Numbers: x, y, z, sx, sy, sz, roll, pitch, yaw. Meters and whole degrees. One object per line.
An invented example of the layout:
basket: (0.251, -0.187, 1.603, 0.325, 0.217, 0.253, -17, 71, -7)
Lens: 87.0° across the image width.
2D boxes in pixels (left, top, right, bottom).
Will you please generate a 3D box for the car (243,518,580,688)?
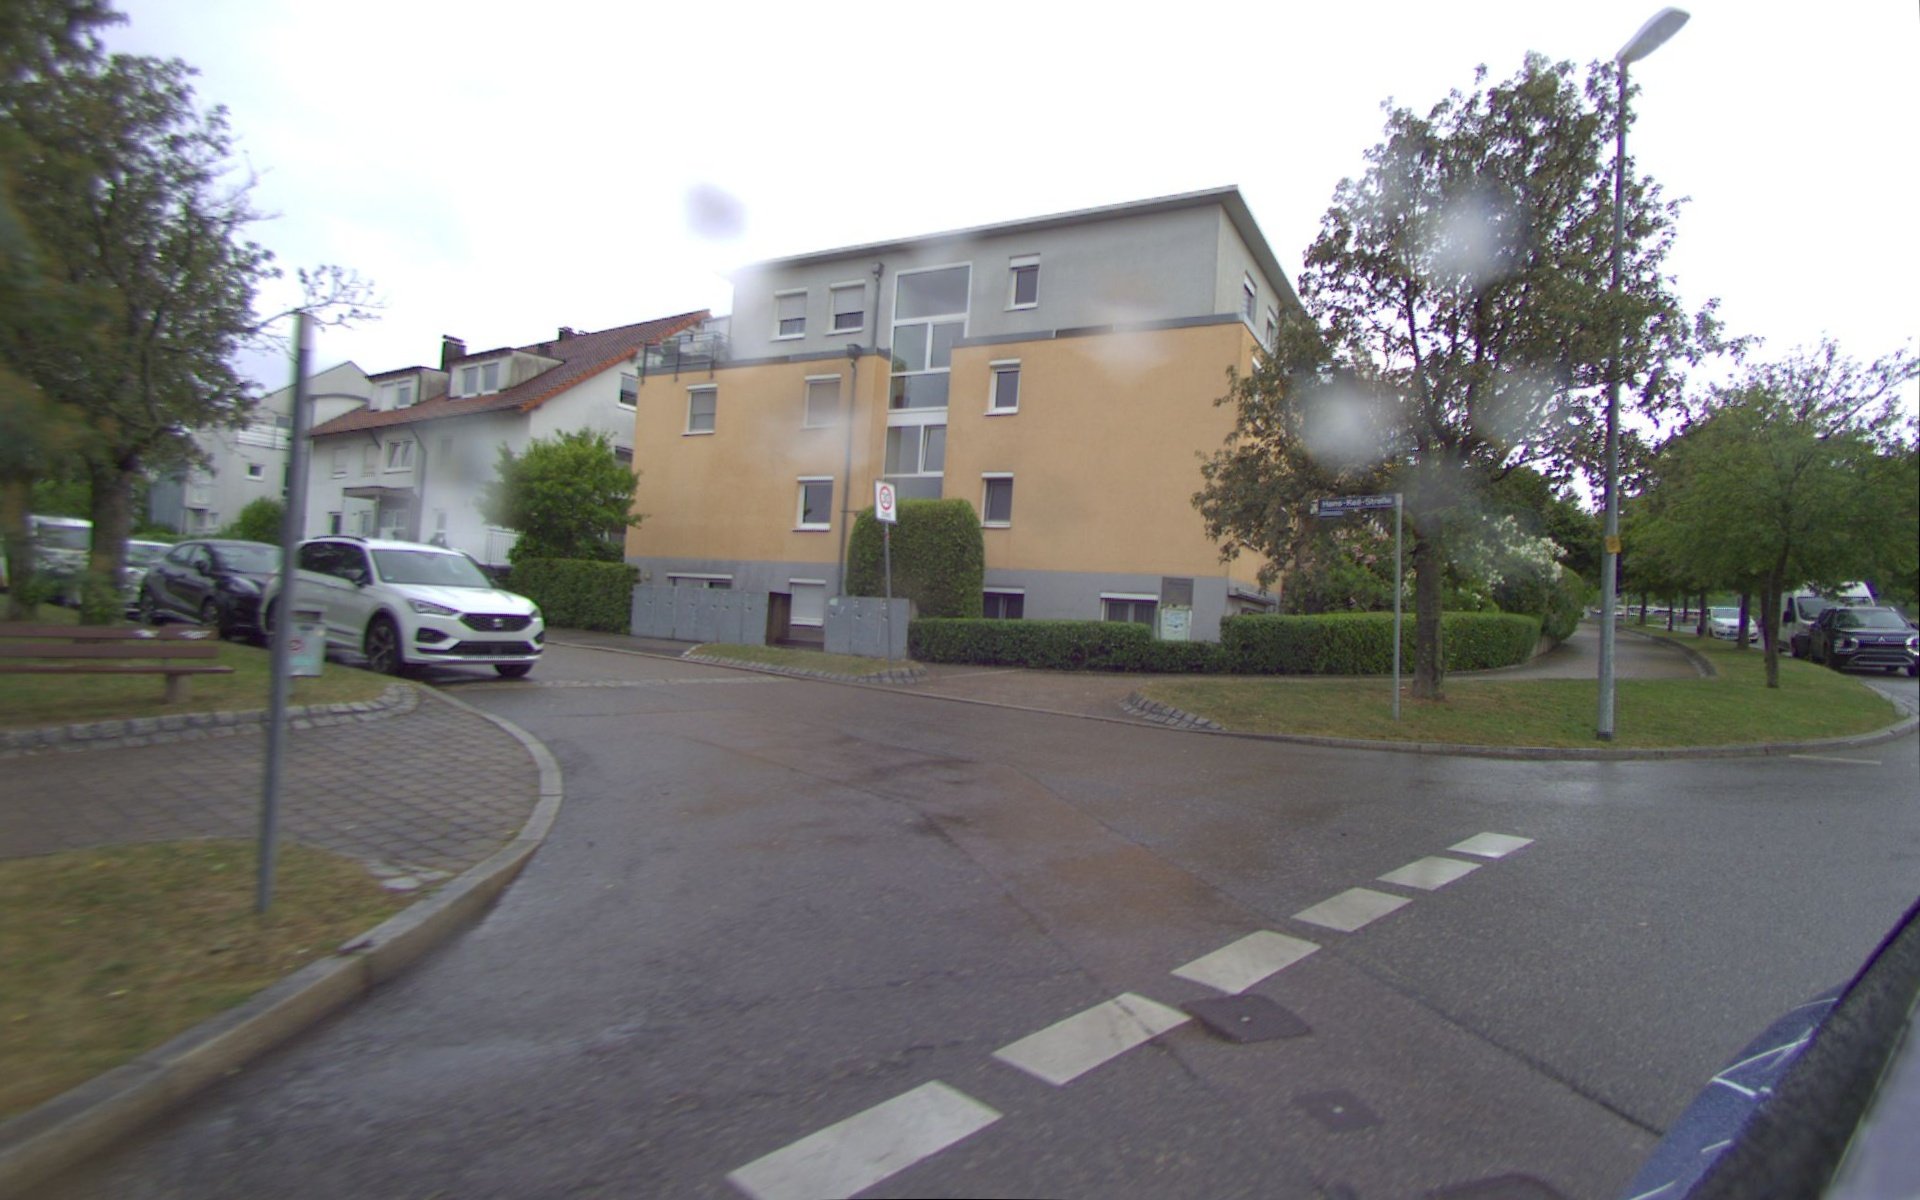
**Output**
car: (-7.257, -0.087, 13.219, 4.683, 1.837, 1.924, 3, 2, 34)

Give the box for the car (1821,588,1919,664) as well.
car: (23.616, 0.596, 26.037, 1.806, 1.748, 4.593, 1, 2, 35)

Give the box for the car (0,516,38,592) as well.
car: (-27.499, -1.290, 28.143, 4.133, 1.995, 1.929, 1, -1, 37)

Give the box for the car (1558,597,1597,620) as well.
car: (55.199, 0.713, 90.523, 1.948, 1.871, 3.982, 1, 1, 15)

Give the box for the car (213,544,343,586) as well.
car: (-25.965, -1.311, 38.610, 1.735, 1.477, 3.751, 3, 2, 38)

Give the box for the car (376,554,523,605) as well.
car: (-15.525, -0.617, 30.935, 1.711, 1.433, 3.640, 3, 2, 33)

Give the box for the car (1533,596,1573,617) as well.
car: (56.525, 0.574, 96.536, 1.945, 1.871, 3.989, 1, 1, 10)

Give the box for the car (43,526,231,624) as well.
car: (-15.755, -0.474, 19.336, 3.805, 1.689, 1.812, 1, 1, 35)

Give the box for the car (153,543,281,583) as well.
car: (-30.738, -1.531, 41.965, 1.817, 1.513, 3.898, 3, 2, 33)

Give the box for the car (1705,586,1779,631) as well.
car: (34.088, 0.317, 44.226, 1.807, 1.807, 3.785, 1, 2, 27)

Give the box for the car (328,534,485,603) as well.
car: (-17.663, -0.981, 32.452, 1.988, 2.038, 3.950, 3, 2, 35)

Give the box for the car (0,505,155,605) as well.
car: (-19.664, -0.935, 22.240, 4.395, 1.953, 1.907, 1, -1, 36)

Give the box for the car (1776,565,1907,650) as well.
car: (26.853, 0.192, 31.038, 2.038, 2.360, 5.348, 1, 1, 31)

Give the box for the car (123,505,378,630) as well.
car: (-11.315, -0.473, 16.098, 3.990, 1.754, 1.932, 1, -1, 33)
